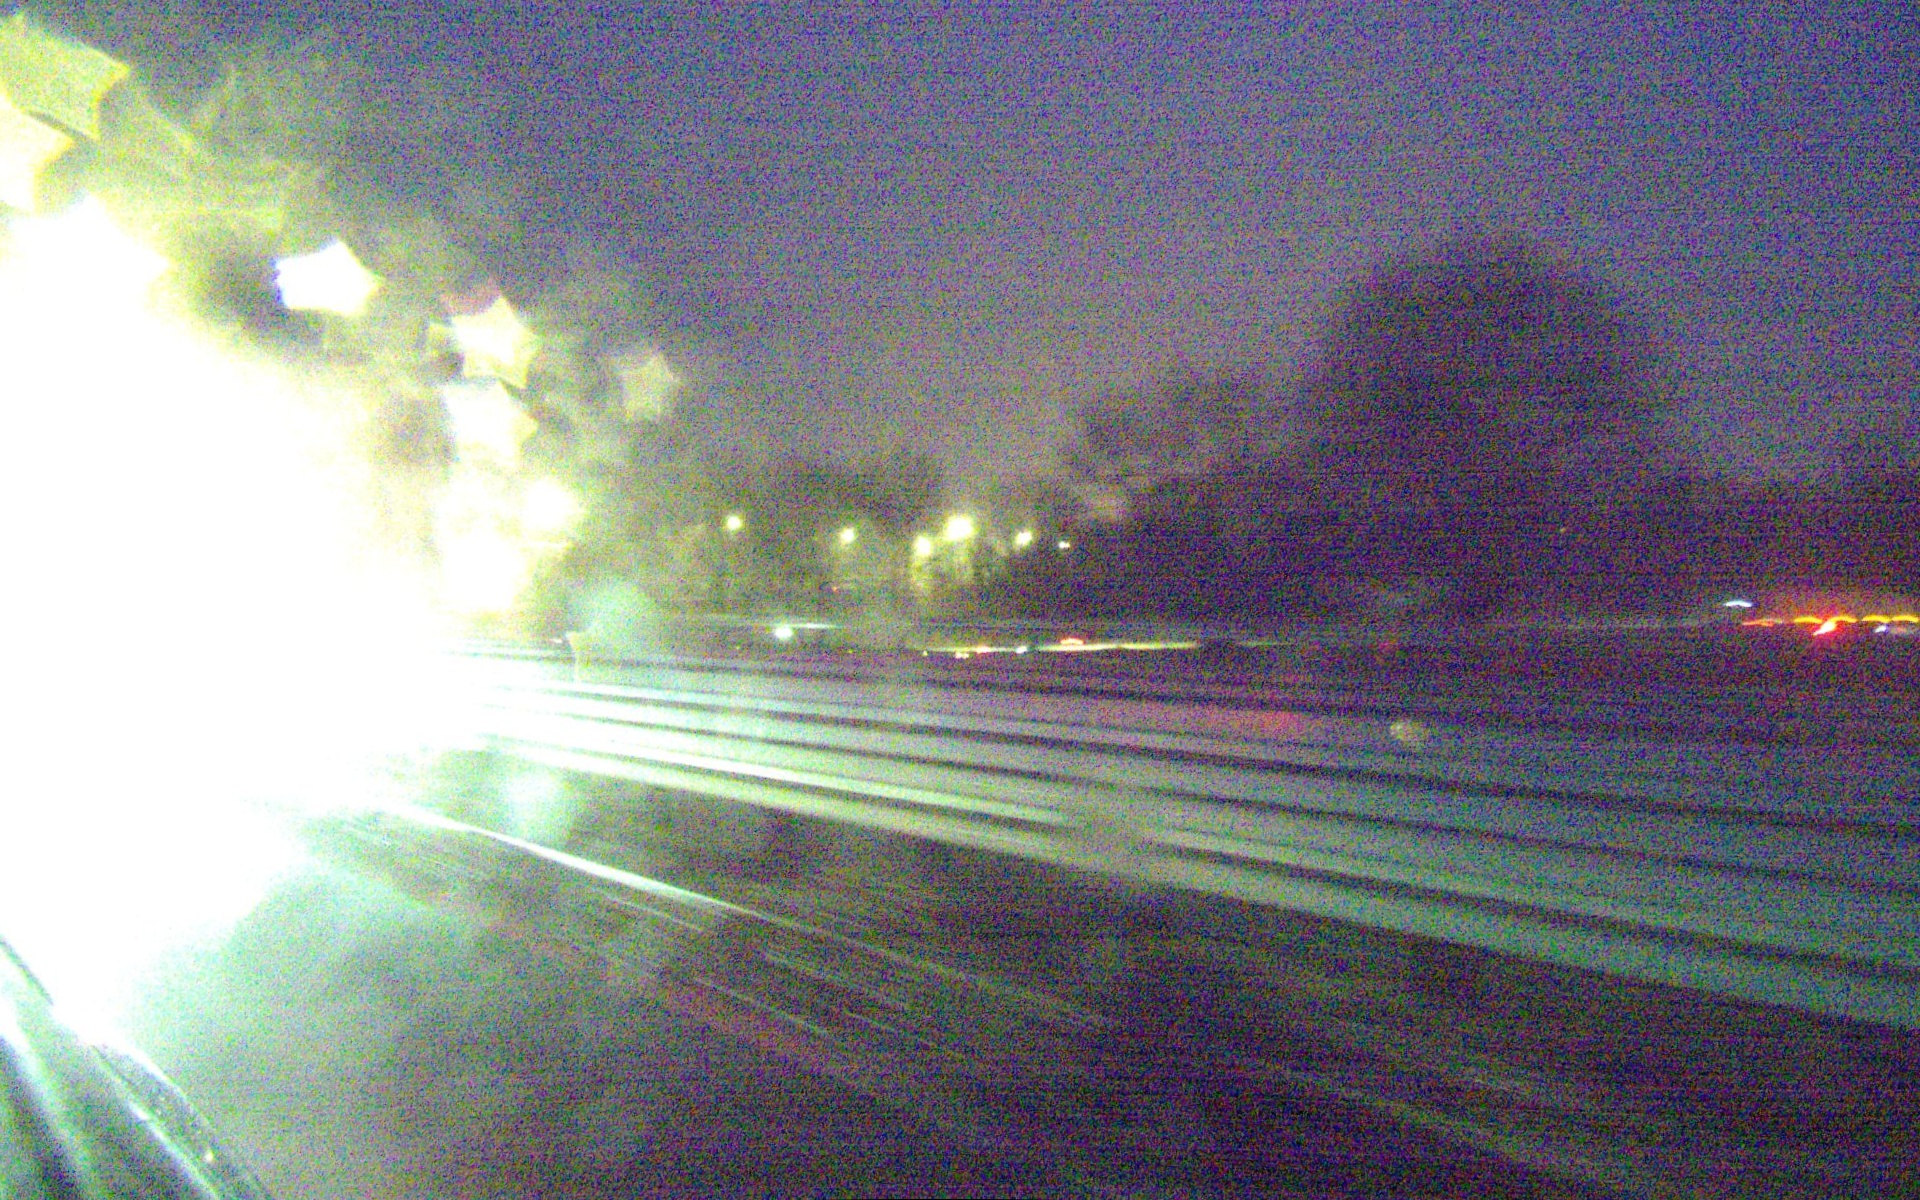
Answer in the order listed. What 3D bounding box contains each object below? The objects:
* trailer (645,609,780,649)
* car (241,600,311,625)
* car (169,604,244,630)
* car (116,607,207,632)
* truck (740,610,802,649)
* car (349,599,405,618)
[{"bbox_3d":[-24.918,2.906,101.783,13.515,3.753,2.589,0,-2,13],"label":"trailer"},{"bbox_3d":[-52.333,0.948,77.479,1.989,1.807,3.965,0,-2,25],"label":"car"},{"bbox_3d":[-55.897,1.302,75.107,1.989,1.807,3.965,0,-2,25],"label":"car"},{"bbox_3d":[-48.150,1.184,61.098,1.707,1.452,3.970,0,-2,22],"label":"car"},{"bbox_3d":[-18.697,2.923,100.298,5.404,3.740,2.585,0,-2,13],"label":"truck"},{"bbox_3d":[-51.276,0.763,89.058,1.707,1.452,3.971,-3,0,22],"label":"car"}]
